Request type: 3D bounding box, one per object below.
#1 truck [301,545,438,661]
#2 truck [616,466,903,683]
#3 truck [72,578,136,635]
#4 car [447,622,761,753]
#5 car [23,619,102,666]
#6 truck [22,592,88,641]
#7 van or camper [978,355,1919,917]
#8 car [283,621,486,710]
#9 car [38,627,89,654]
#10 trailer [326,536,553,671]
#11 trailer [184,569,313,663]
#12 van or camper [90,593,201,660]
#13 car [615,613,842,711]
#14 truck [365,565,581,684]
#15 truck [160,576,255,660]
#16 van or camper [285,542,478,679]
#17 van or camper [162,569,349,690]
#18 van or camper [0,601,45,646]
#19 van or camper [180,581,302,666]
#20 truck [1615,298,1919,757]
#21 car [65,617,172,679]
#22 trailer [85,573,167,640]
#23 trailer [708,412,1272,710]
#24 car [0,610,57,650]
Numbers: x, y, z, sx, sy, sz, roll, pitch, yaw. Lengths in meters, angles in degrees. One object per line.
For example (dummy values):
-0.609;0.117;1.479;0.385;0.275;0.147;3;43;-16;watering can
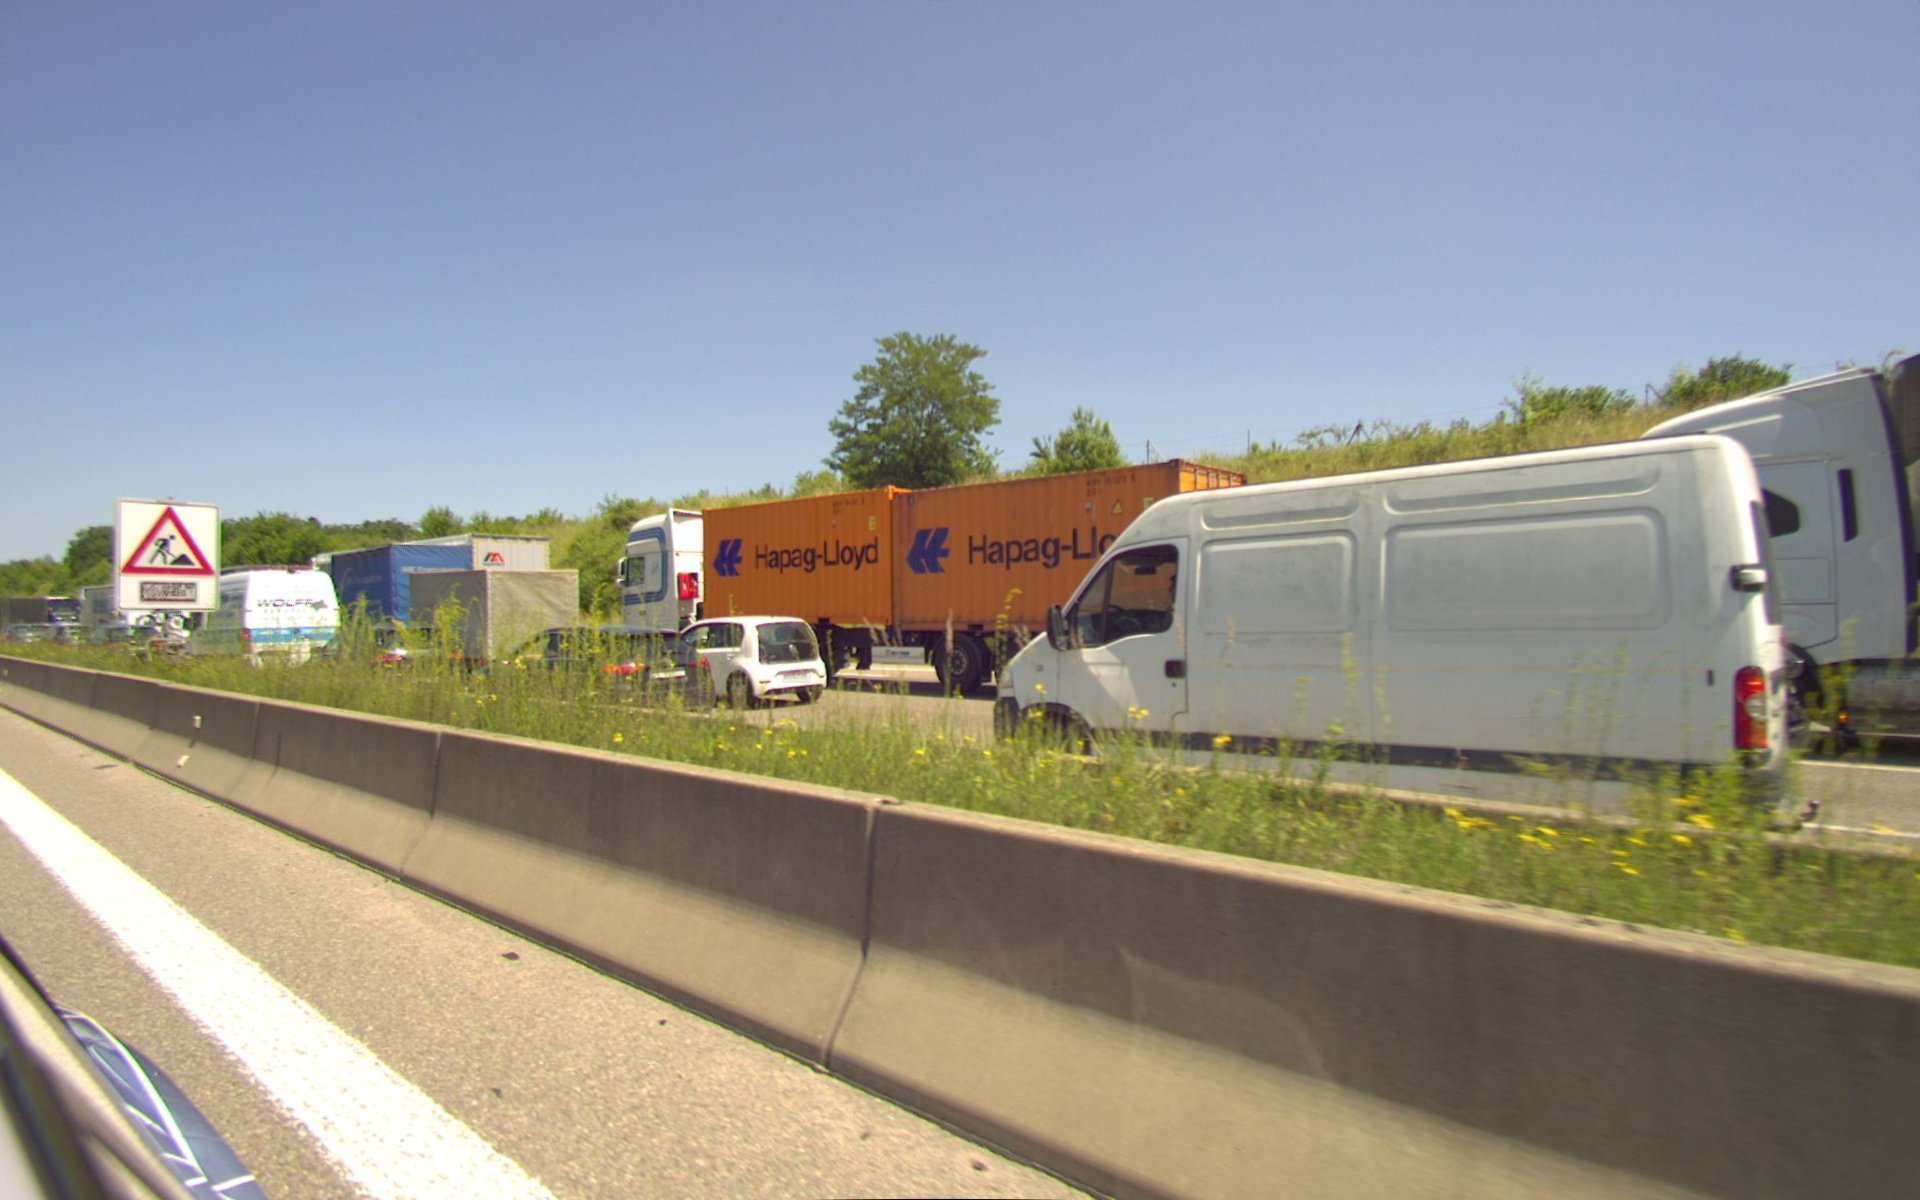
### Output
-23.078;0.114;39.441;6.138;4.159;2.772;-1;0;41;truck
-4.888;-0.482;23.670;7.287;4.358;2.563;-1;0;40;truck
-64.677;0.506;76.450;7.027;4.145;2.752;-1;-1;42;truck
-4.917;1.028;13.588;4.880;1.419;1.800;-1;-1;41;car
-36.669;1.685;41.316;4.970;1.743;1.793;-1;0;41;car
-82.778;1.496;92.500;11.481;4.253;3.024;-1;0;41;truck
3.135;0.196;6.998;6.054;2.525;2.170;-1;-1;41;van or camper
-10.681;1.114;18.669;4.428;1.419;1.882;-1;-1;41;car
-57.061;2.550;64.400;4.996;1.555;1.793;-1;0;41;car
-18.597;0.162;35.489;12.245;4.064;2.752;-1;0;41;trailer
-35.641;0.766;50.487;10.787;4.272;2.760;-1;0;41;trailer
-39.498;1.240;48.973;8.109;2.970;2.812;-1;0;41;van or camper
-4.045;0.970;17.356;4.111;1.476;1.713;-1;-1;41;car
-12.027;0.569;24.694;6.858;2.525;2.211;-1;-1;41;truck
-41.334;0.983;55.524;7.026;4.338;2.752;-1;-1;41;truck
-16.481;0.301;28.562;7.675;3.416;2.289;-1;-1;41;van or camper
-17.080;0.664;24.368;6.412;2.560;2.170;-1;-1;41;van or camper
-74.194;1.803;79.630;7.942;3.385;2.502;-1;0;42;van or camper
-27.361;0.848;38.378;7.221;2.945;2.128;-1;0;41;van or camper
10.256;-0.706;10.284;5.665;4.358;2.493;-1;0;43;truck
-26.169;1.411;31.411;4.932;1.743;1.793;-1;0;41;car
-58.946;0.500;71.371;11.706;4.338;2.752;-1;-1;42;trailer
-0.235;-0.521;19.677;11.993;4.343;2.585;-1;0;41;trailer
-45.813;1.438;49.485;5.540;1.823;1.793;-1;0;41;car
